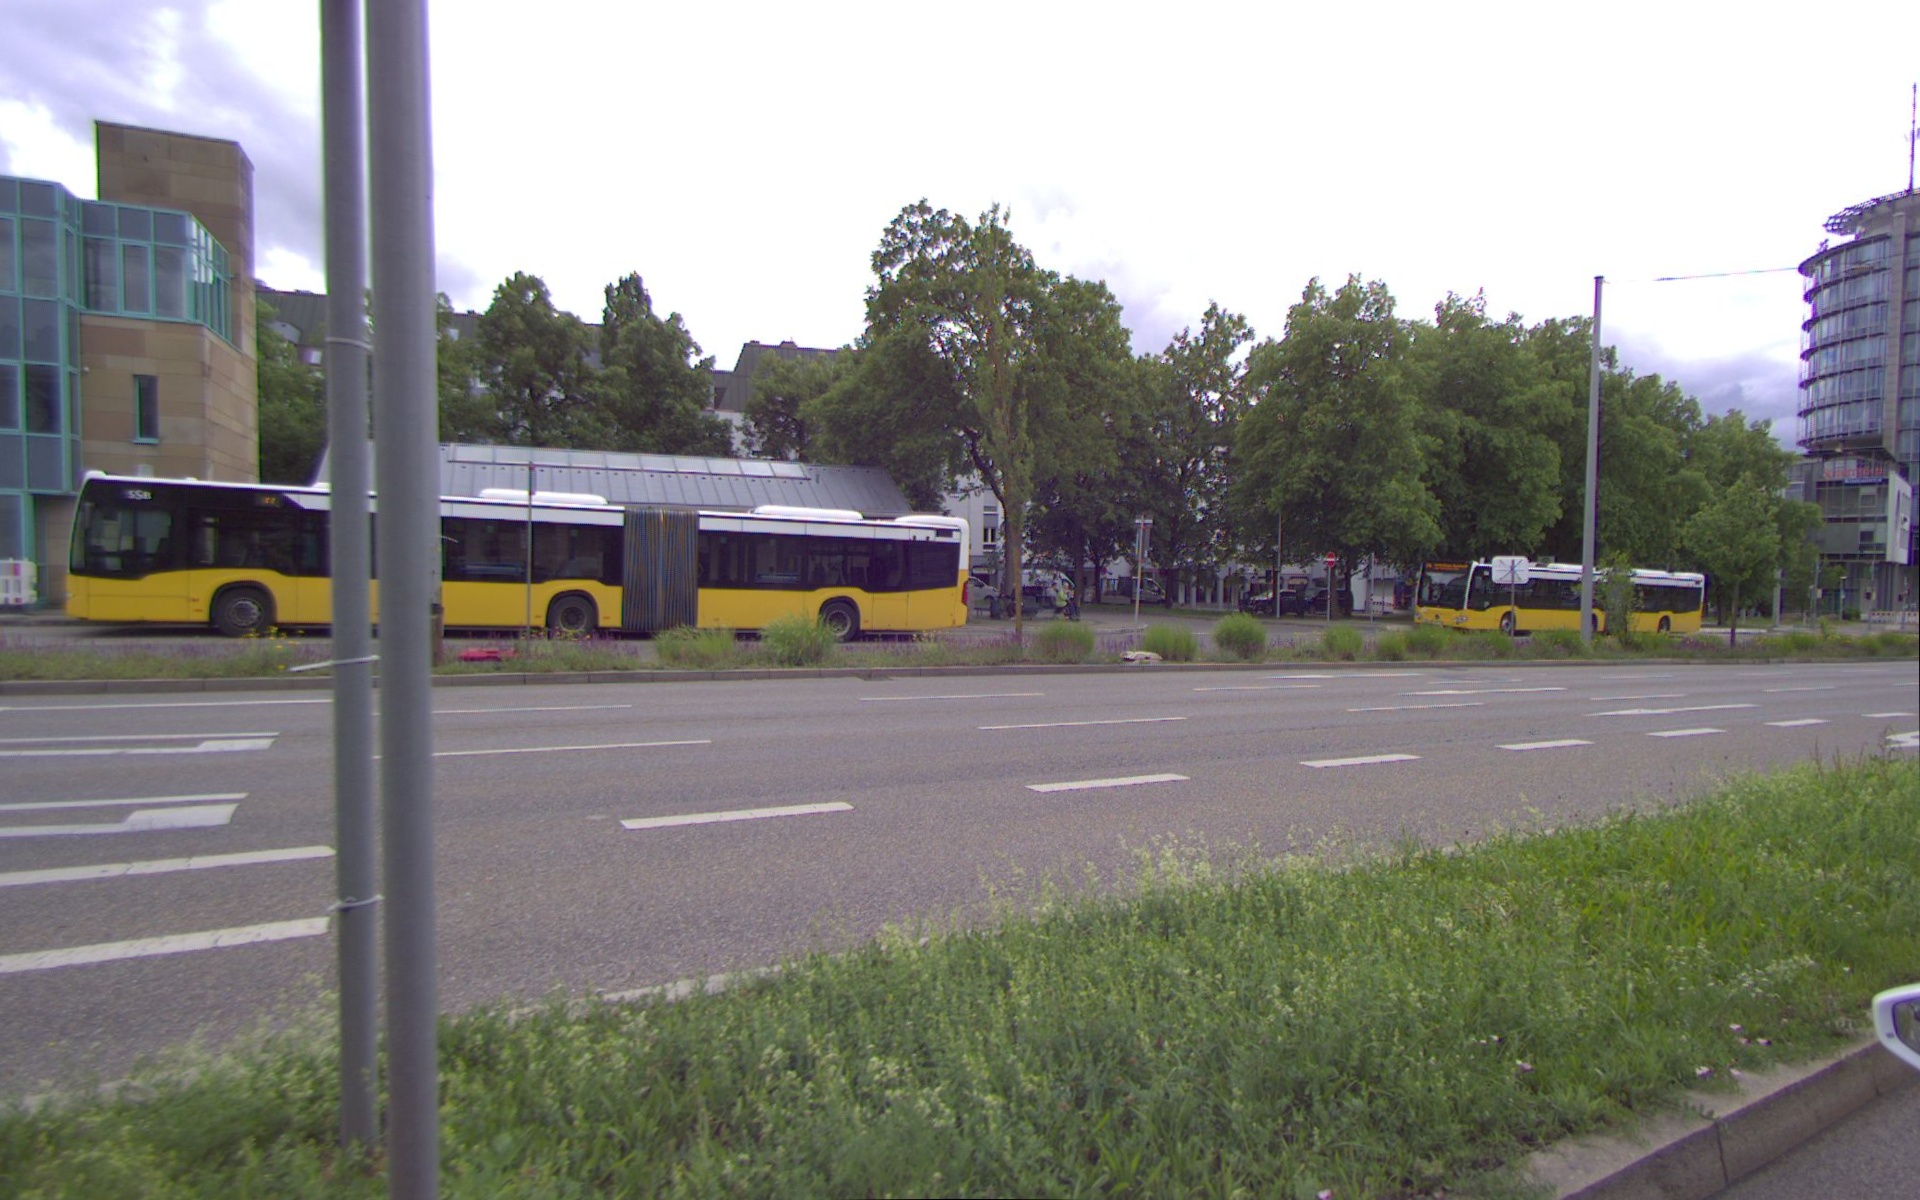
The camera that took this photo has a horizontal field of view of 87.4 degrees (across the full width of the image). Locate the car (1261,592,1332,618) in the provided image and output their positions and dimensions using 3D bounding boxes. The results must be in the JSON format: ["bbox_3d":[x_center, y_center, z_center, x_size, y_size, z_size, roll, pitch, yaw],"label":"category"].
[{"bbox_3d":[21.864,0.319,65.287,4.194,1.602,1.985,1,1,-28],"label":"car"}]

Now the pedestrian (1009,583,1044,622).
[{"bbox_3d":[2.237,0.085,33.899,0.843,1.271,0.894,2,1,30],"label":"pedestrian"}]

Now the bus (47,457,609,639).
[{"bbox_3d":[-12.319,-0.908,20.826,9.308,3.174,2.767,1,3,-25],"label":"bus"}]

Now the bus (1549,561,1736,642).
[{"bbox_3d":[32.647,0.097,47.912,9.786,3.502,3.018,1,3,-28],"label":"bus"}]

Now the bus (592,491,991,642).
[{"bbox_3d":[-4.036,-0.719,24.577,9.167,3.174,2.802,1,3,-23],"label":"bus"}]

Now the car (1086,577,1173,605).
[{"bbox_3d":[11.149,-0.587,66.225,5.307,1.670,1.995,1,1,-12],"label":"car"}]

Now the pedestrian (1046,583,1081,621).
[{"bbox_3d":[3.587,0.067,34.780,0.844,1.307,0.893,2,1,35],"label":"pedestrian"}]

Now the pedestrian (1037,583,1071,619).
[{"bbox_3d":[3.439,0.039,36.612,0.848,1.271,0.888,1,1,-30],"label":"pedestrian"}]

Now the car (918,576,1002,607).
[{"bbox_3d":[0.006,-0.551,62.532,4.838,1.747,1.992,1,1,-18],"label":"car"}]

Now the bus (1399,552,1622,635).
[{"bbox_3d":[23.757,-0.215,43.089,10.605,3.205,3.070,1,3,-29],"label":"bus"}]
